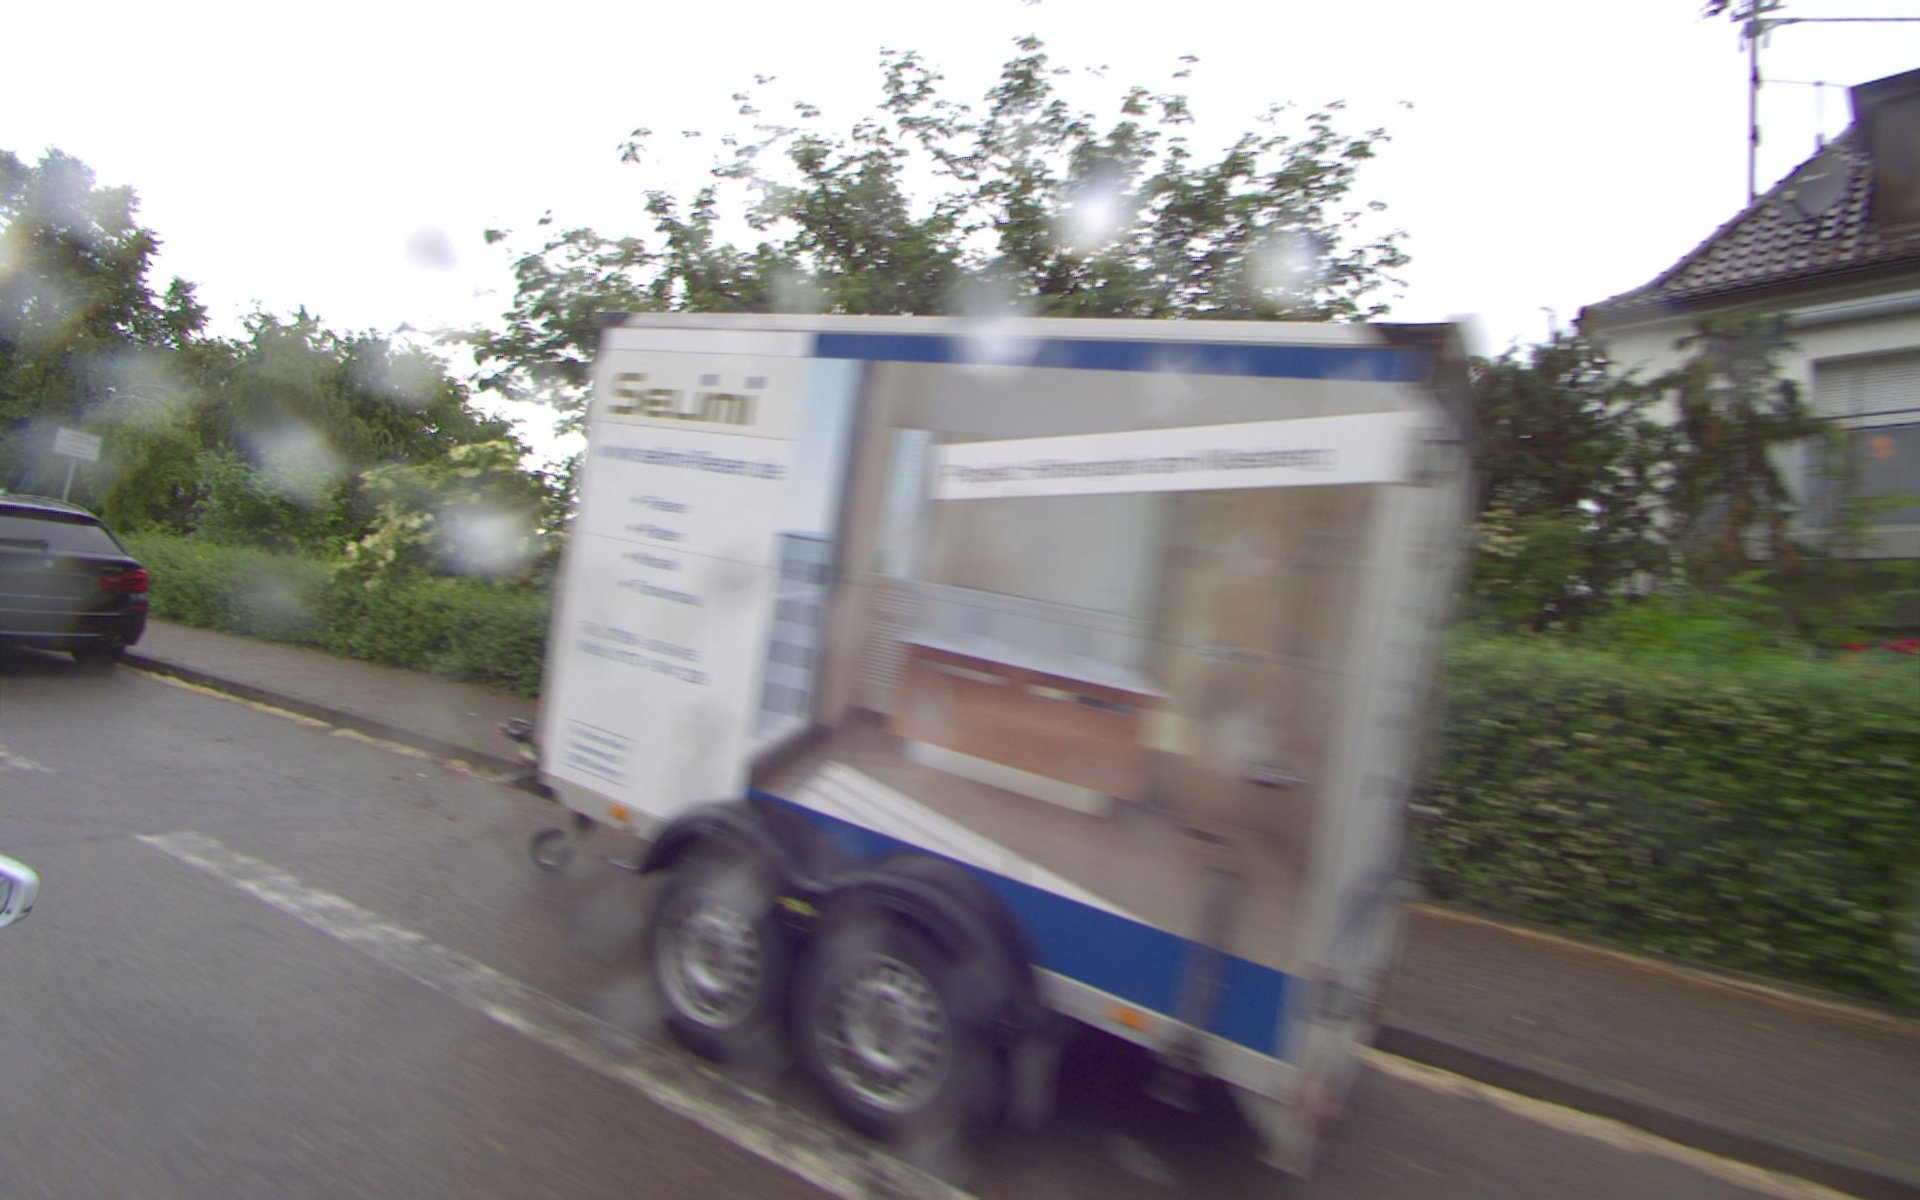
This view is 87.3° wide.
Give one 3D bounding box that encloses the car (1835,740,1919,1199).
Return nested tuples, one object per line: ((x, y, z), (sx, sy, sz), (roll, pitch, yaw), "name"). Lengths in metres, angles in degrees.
((4.248, 1.271, 1.113), (4.628, 1.441, 1.749), (6, -2, 34), "car")

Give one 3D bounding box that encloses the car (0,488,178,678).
((-9.554, -0.357, 9.239), (4.704, 1.476, 1.798), (7, -1, 27), "car")

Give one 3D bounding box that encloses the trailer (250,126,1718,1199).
((-0.451, 0.181, 4.163), (5.345, 2.485, 1.952), (6, -1, 32), "trailer")
